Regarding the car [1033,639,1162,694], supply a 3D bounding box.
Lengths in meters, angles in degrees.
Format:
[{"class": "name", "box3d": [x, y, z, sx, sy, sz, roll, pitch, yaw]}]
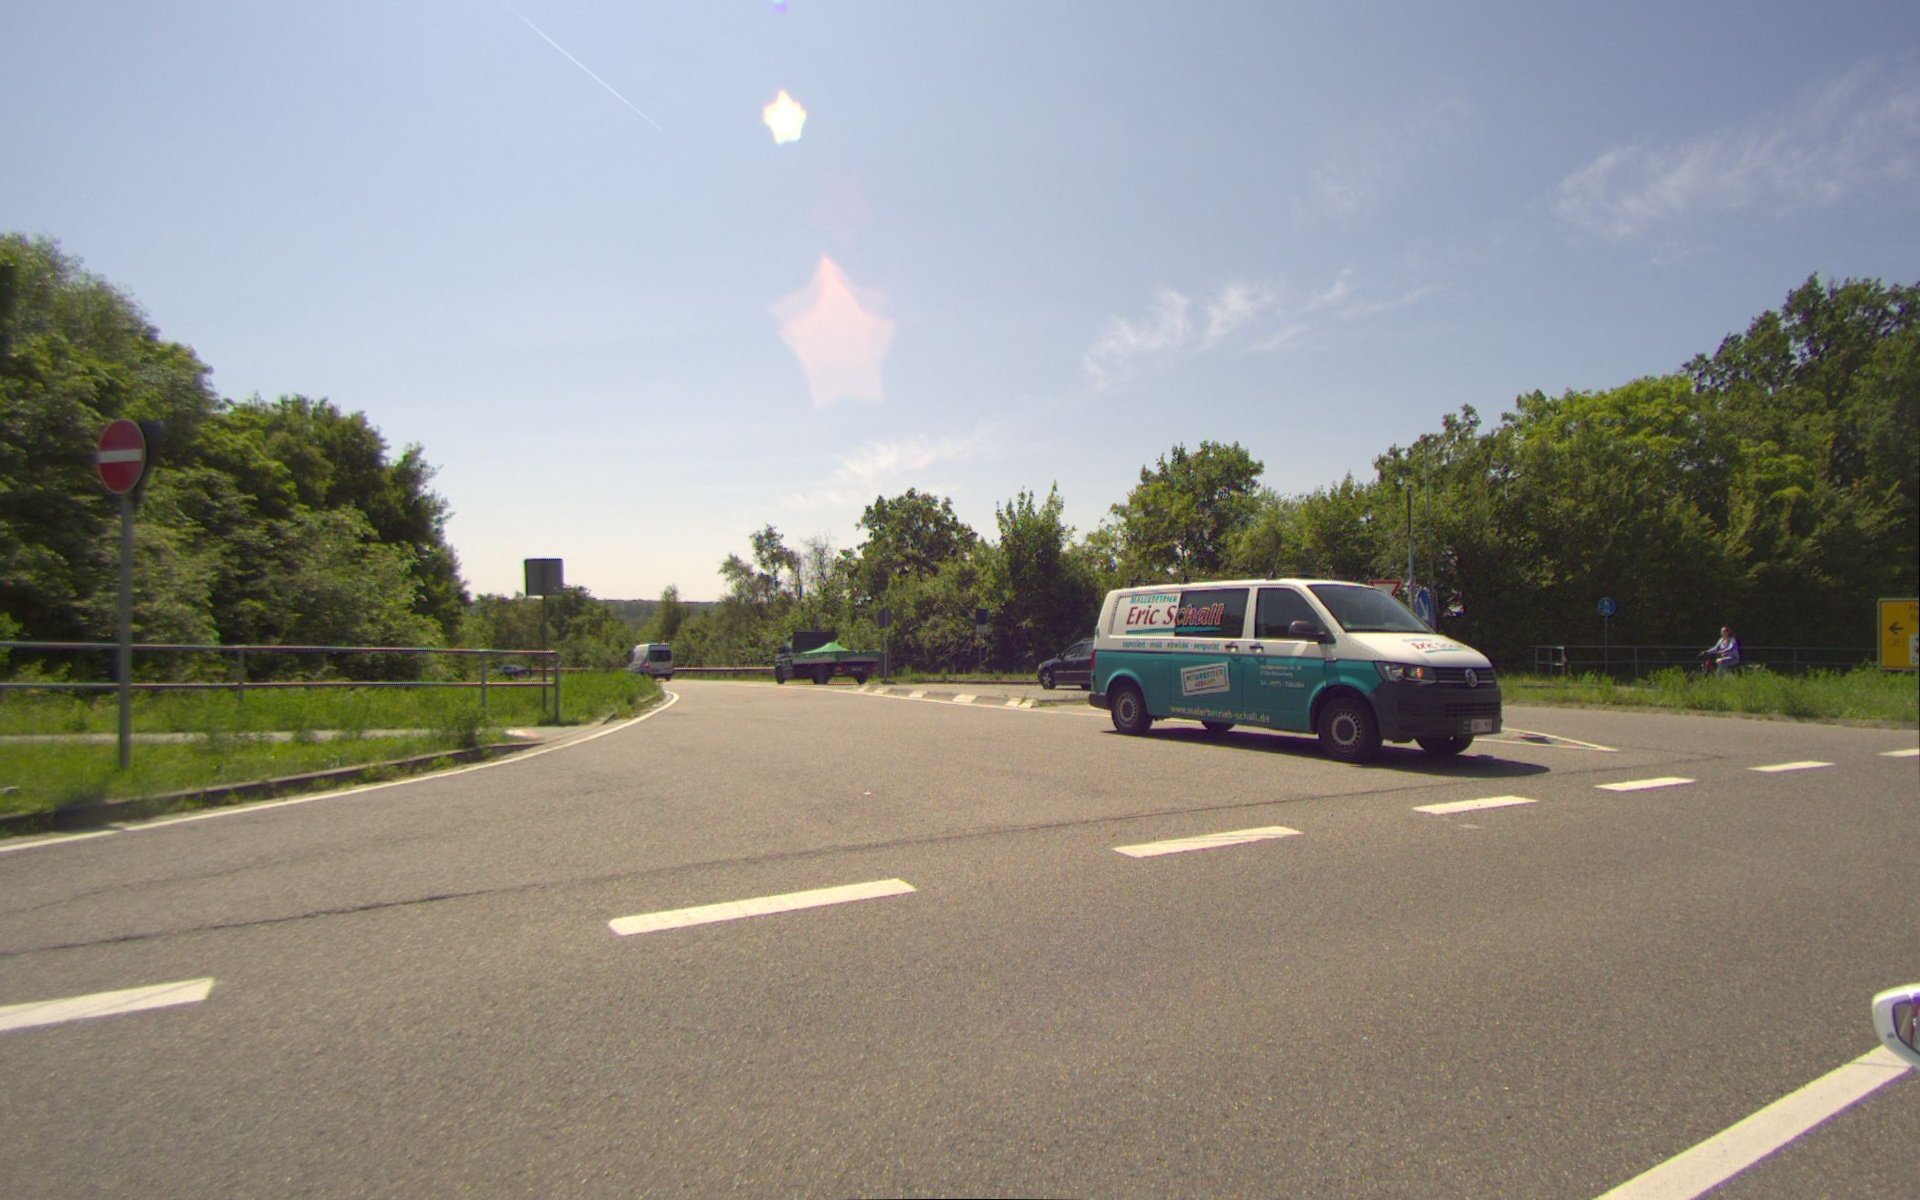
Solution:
[{"class": "car", "box3d": [3.910, 1.868, 29.133, 1.707, 1.476, 3.764, 1, -2, -33]}]

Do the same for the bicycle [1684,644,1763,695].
[{"class": "bicycle", "box3d": [17.819, 1.624, 23.458, 1.452, 1.128, 0.437, 1, -1, 5]}]

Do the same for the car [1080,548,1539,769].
[{"class": "car", "box3d": [3.817, 0.658, 12.091, 1.978, 2.054, 5.144, 1, -3, -31]}]

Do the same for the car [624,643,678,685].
[{"class": "car", "box3d": [-22.066, 4.583, 71.605, 2.090, 2.887, 5.958, 2, -4, -33]}]

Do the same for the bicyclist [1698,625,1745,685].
[{"class": "bicyclist", "box3d": [17.789, 1.275, 23.472, 0.597, 1.381, 0.690, 1, -1, 5]}]

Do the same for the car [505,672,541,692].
[{"class": "car", "box3d": [-38.976, 7.310, 89.512, 3.947, 1.683, 1.667, -4, -4, 45]}]

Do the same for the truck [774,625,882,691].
[{"class": "truck", "box3d": [-5.771, 2.512, 42.885, 2.122, 2.598, 6.585, 2, -4, -31]}]
